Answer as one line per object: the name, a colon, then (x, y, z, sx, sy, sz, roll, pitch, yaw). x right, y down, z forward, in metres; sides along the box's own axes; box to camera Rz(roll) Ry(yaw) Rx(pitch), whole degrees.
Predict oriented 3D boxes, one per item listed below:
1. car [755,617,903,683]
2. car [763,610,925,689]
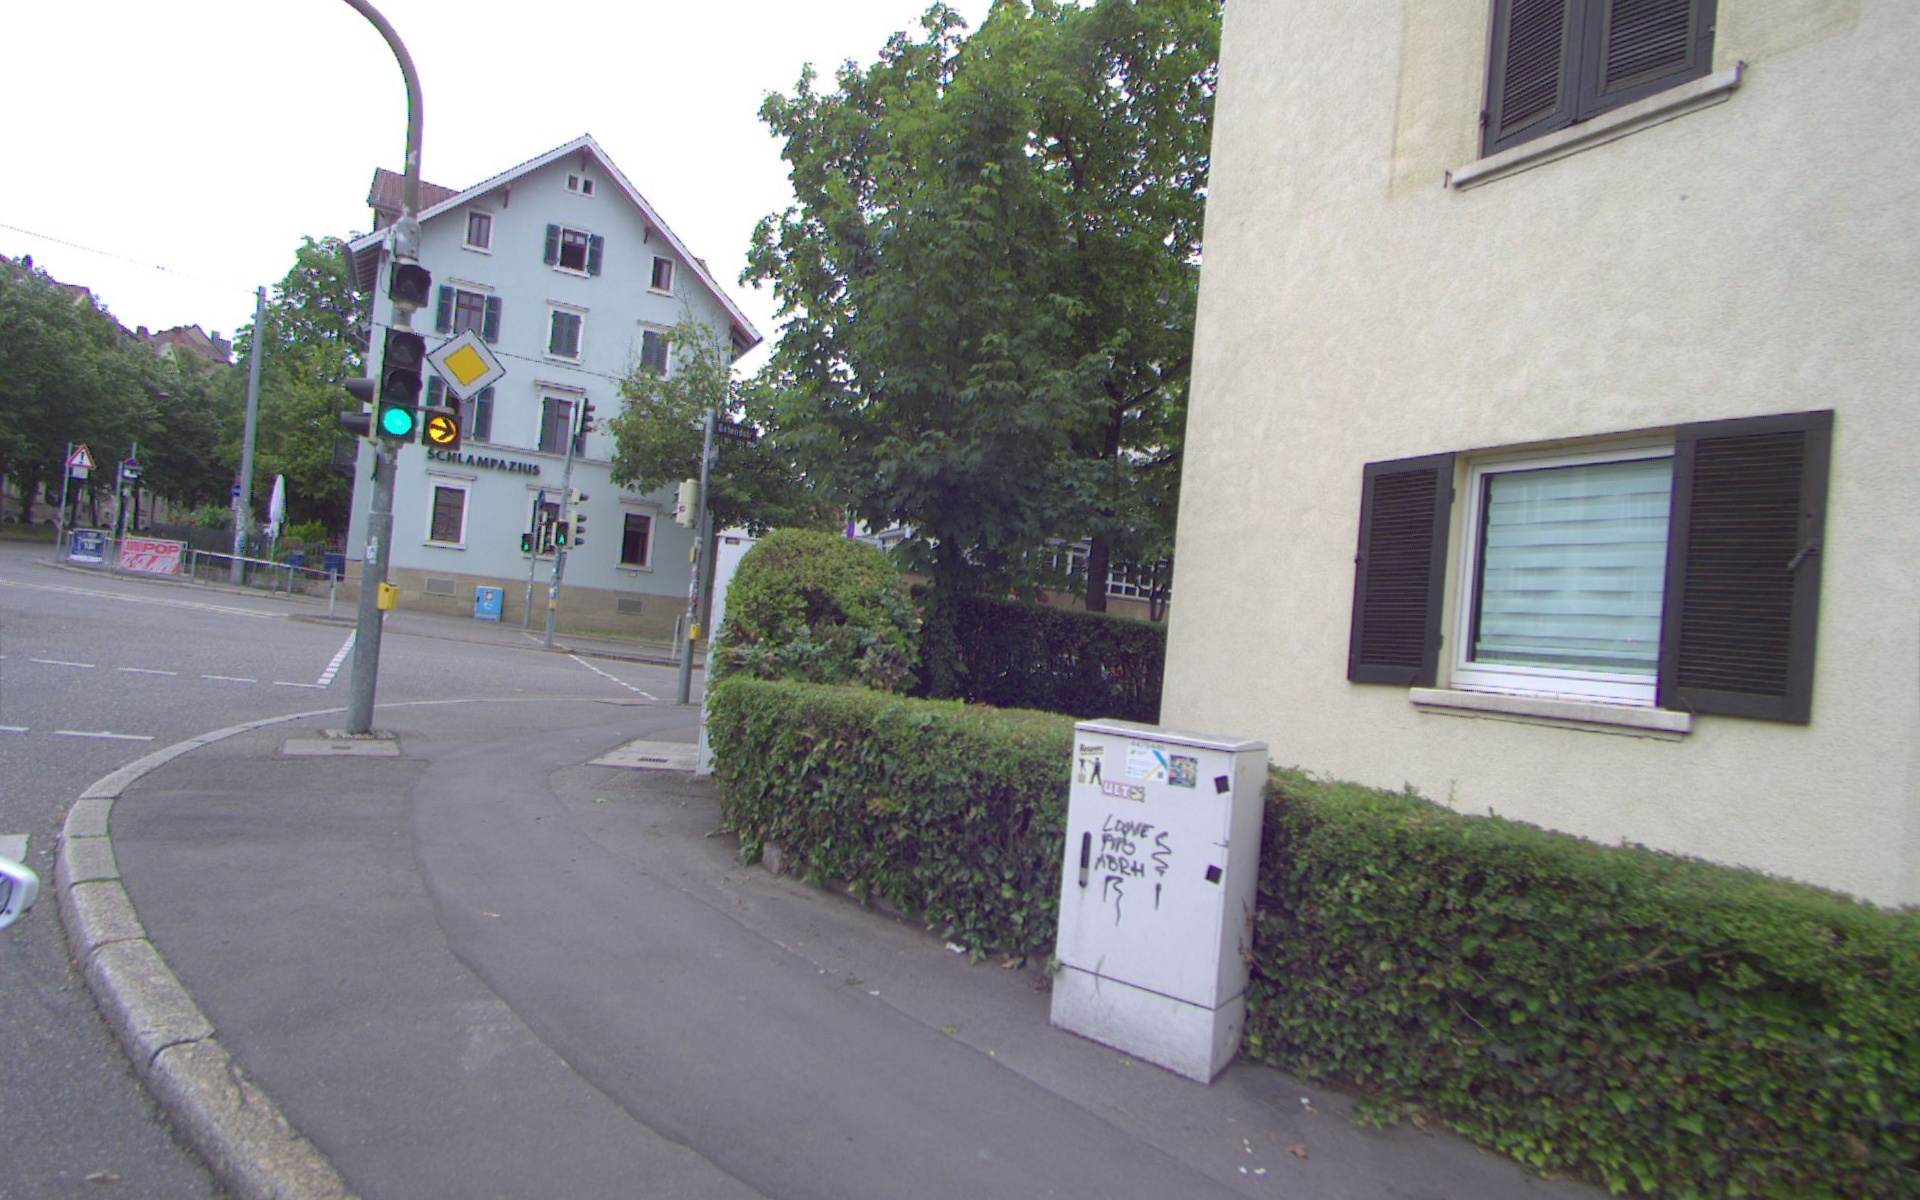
car: (-4.014, 1.518, 30.677, 4.136, 1.440, 1.705, 8, -2, -17)
car: (-3.260, 1.408, 28.205, 4.136, 1.656, 1.706, 8, -4, -17)
